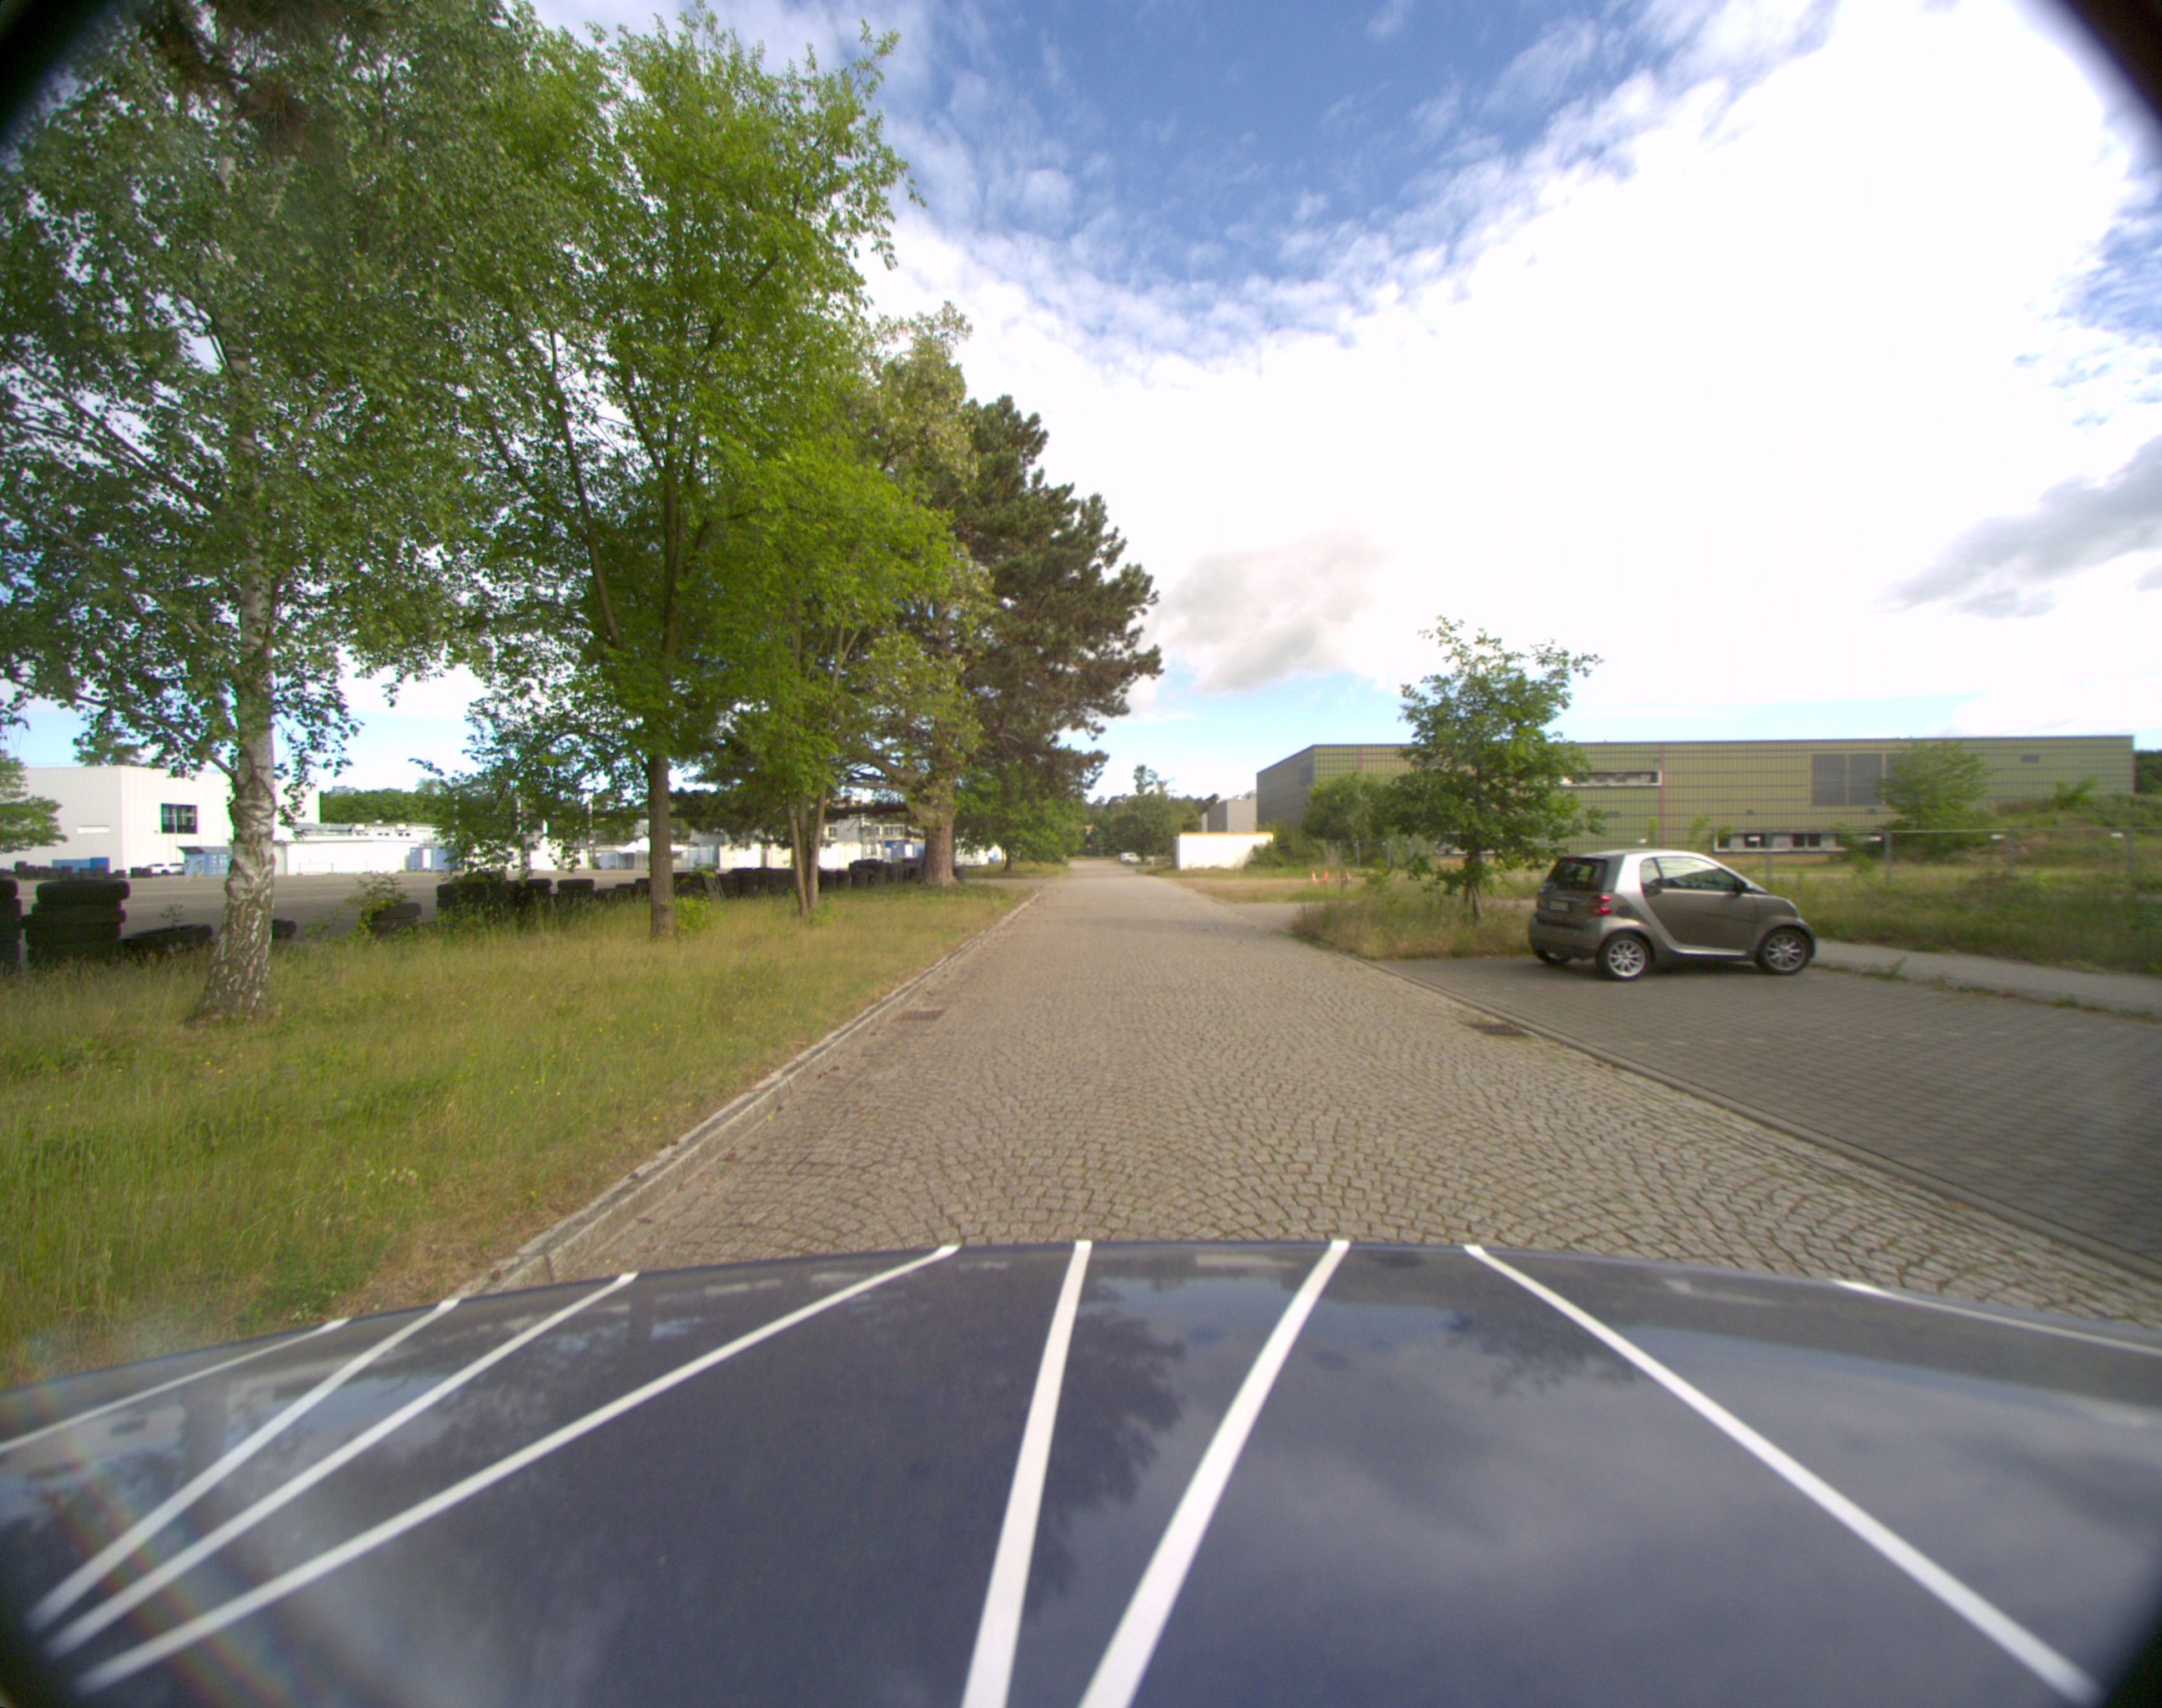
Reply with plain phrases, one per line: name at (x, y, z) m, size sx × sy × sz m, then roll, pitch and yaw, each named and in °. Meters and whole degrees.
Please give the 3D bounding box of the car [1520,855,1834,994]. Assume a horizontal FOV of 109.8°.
car at (7.326, 0.810, 9.551) m, size 2.661 × 1.502 × 1.610 m, roll -2°, pitch 1°, yaw 0°

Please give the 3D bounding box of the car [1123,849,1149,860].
car at (8.413, 0.113, 116.768) m, size 3.996 × 1.604 × 1.797 m, roll 0°, pitch 1°, yaw 4°
